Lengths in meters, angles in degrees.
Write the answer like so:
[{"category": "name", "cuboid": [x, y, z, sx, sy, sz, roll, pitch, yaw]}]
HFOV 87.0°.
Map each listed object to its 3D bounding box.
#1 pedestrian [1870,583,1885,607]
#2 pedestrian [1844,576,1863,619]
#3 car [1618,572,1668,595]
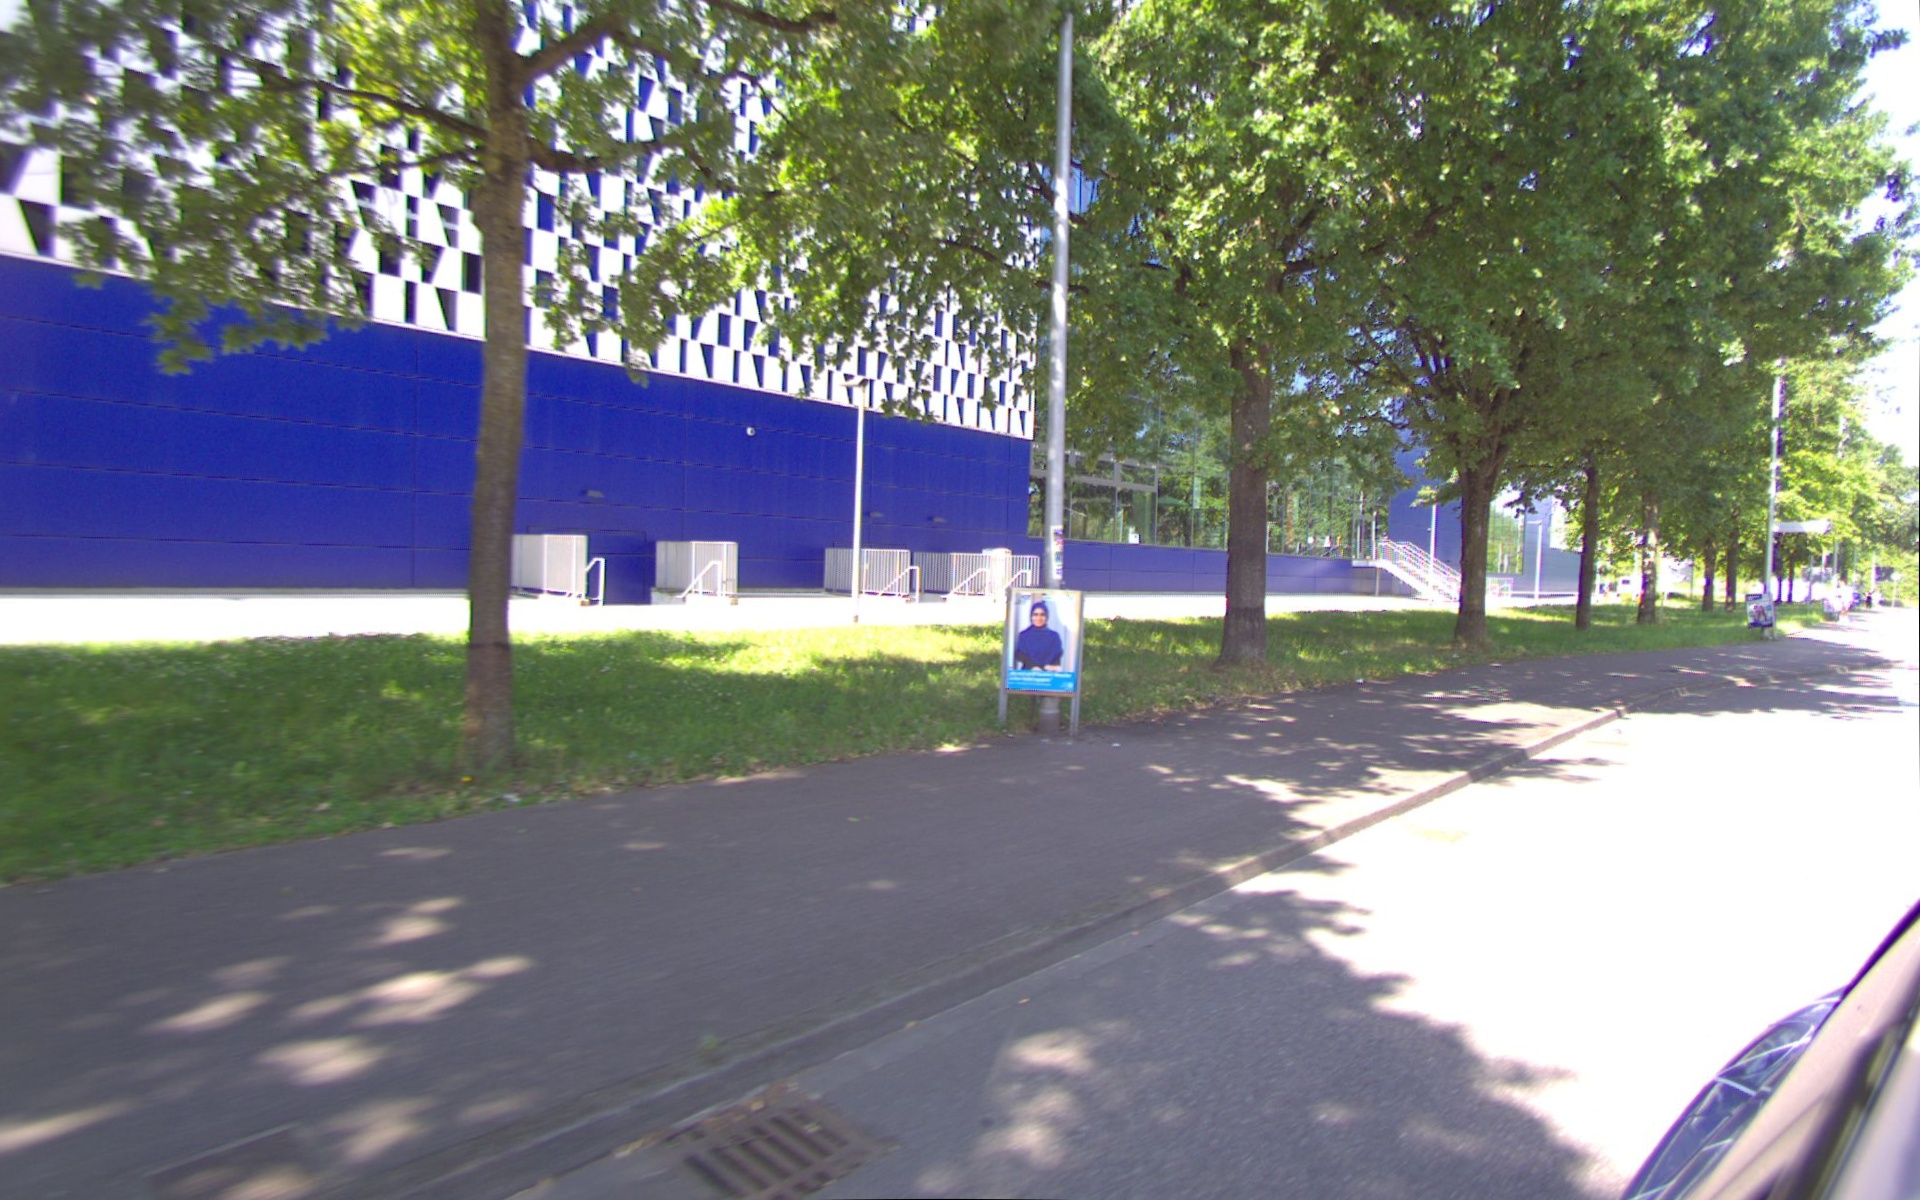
[{"category": "pedestrian", "cuboid": [65.014, -0.349, 71.713, 0.833, 1.623, 0.647, 0, 2, -45]}, {"category": "pedestrian", "cuboid": [39.422, -0.124, 44.640, 0.535, 1.864, 0.716, 3, 2, 44]}, {"category": "car", "cuboid": [59.673, -1.427, 88.376, 4.095, 1.851, 1.915, 1, 2, -29]}]
